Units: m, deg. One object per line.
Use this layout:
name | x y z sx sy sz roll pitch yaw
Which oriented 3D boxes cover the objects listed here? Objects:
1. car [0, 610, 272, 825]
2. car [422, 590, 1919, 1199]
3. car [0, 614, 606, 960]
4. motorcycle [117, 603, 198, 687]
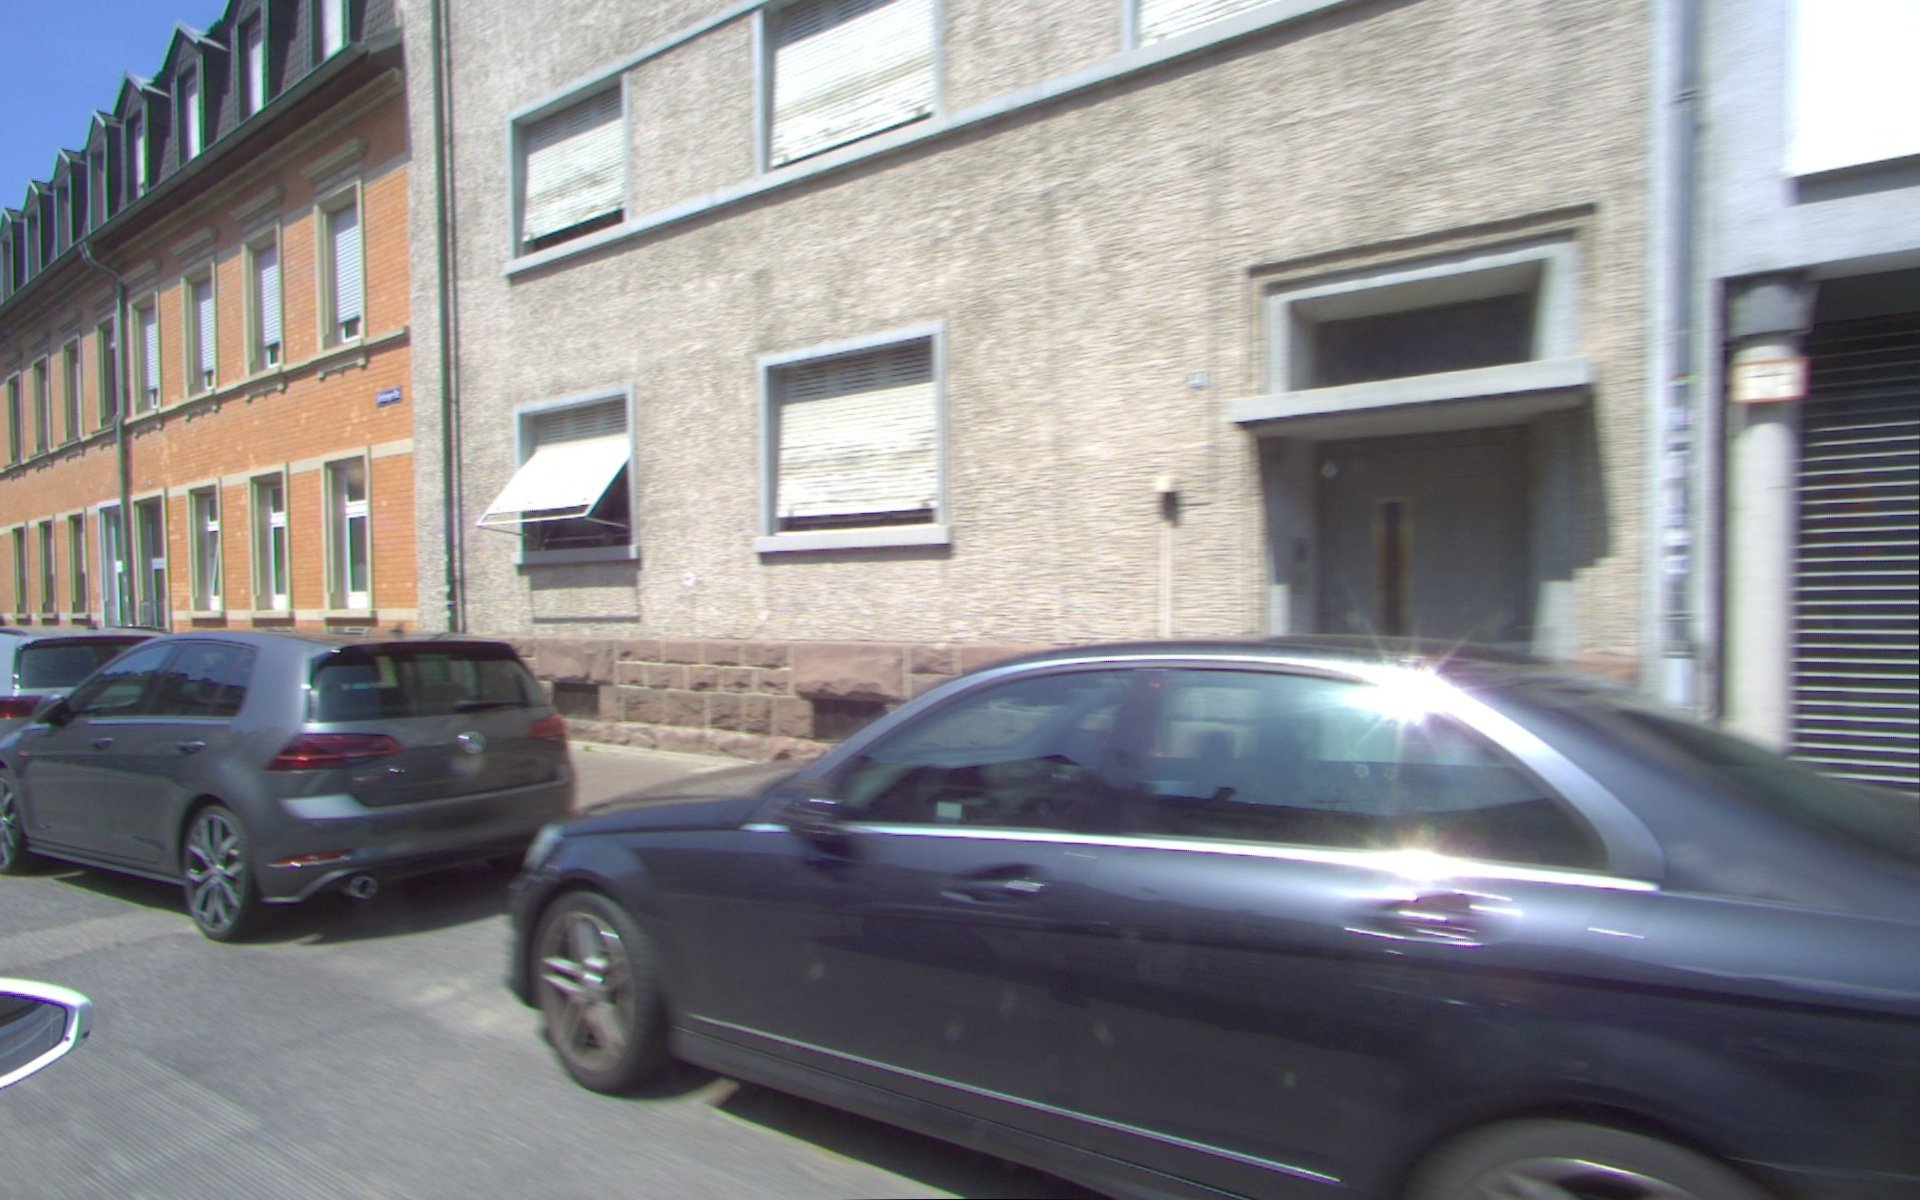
car | -8.233 0.860 8.665 4.479 1.482 1.853 -1 -1 27
car | 0.392 0.755 3.064 4.376 1.492 1.707 -1 0 33
car | -4.140 0.827 5.950 3.988 1.439 1.649 -1 0 30
motorcycle | -12.493 0.685 15.575 1.343 1.241 0.594 -1 0 34
